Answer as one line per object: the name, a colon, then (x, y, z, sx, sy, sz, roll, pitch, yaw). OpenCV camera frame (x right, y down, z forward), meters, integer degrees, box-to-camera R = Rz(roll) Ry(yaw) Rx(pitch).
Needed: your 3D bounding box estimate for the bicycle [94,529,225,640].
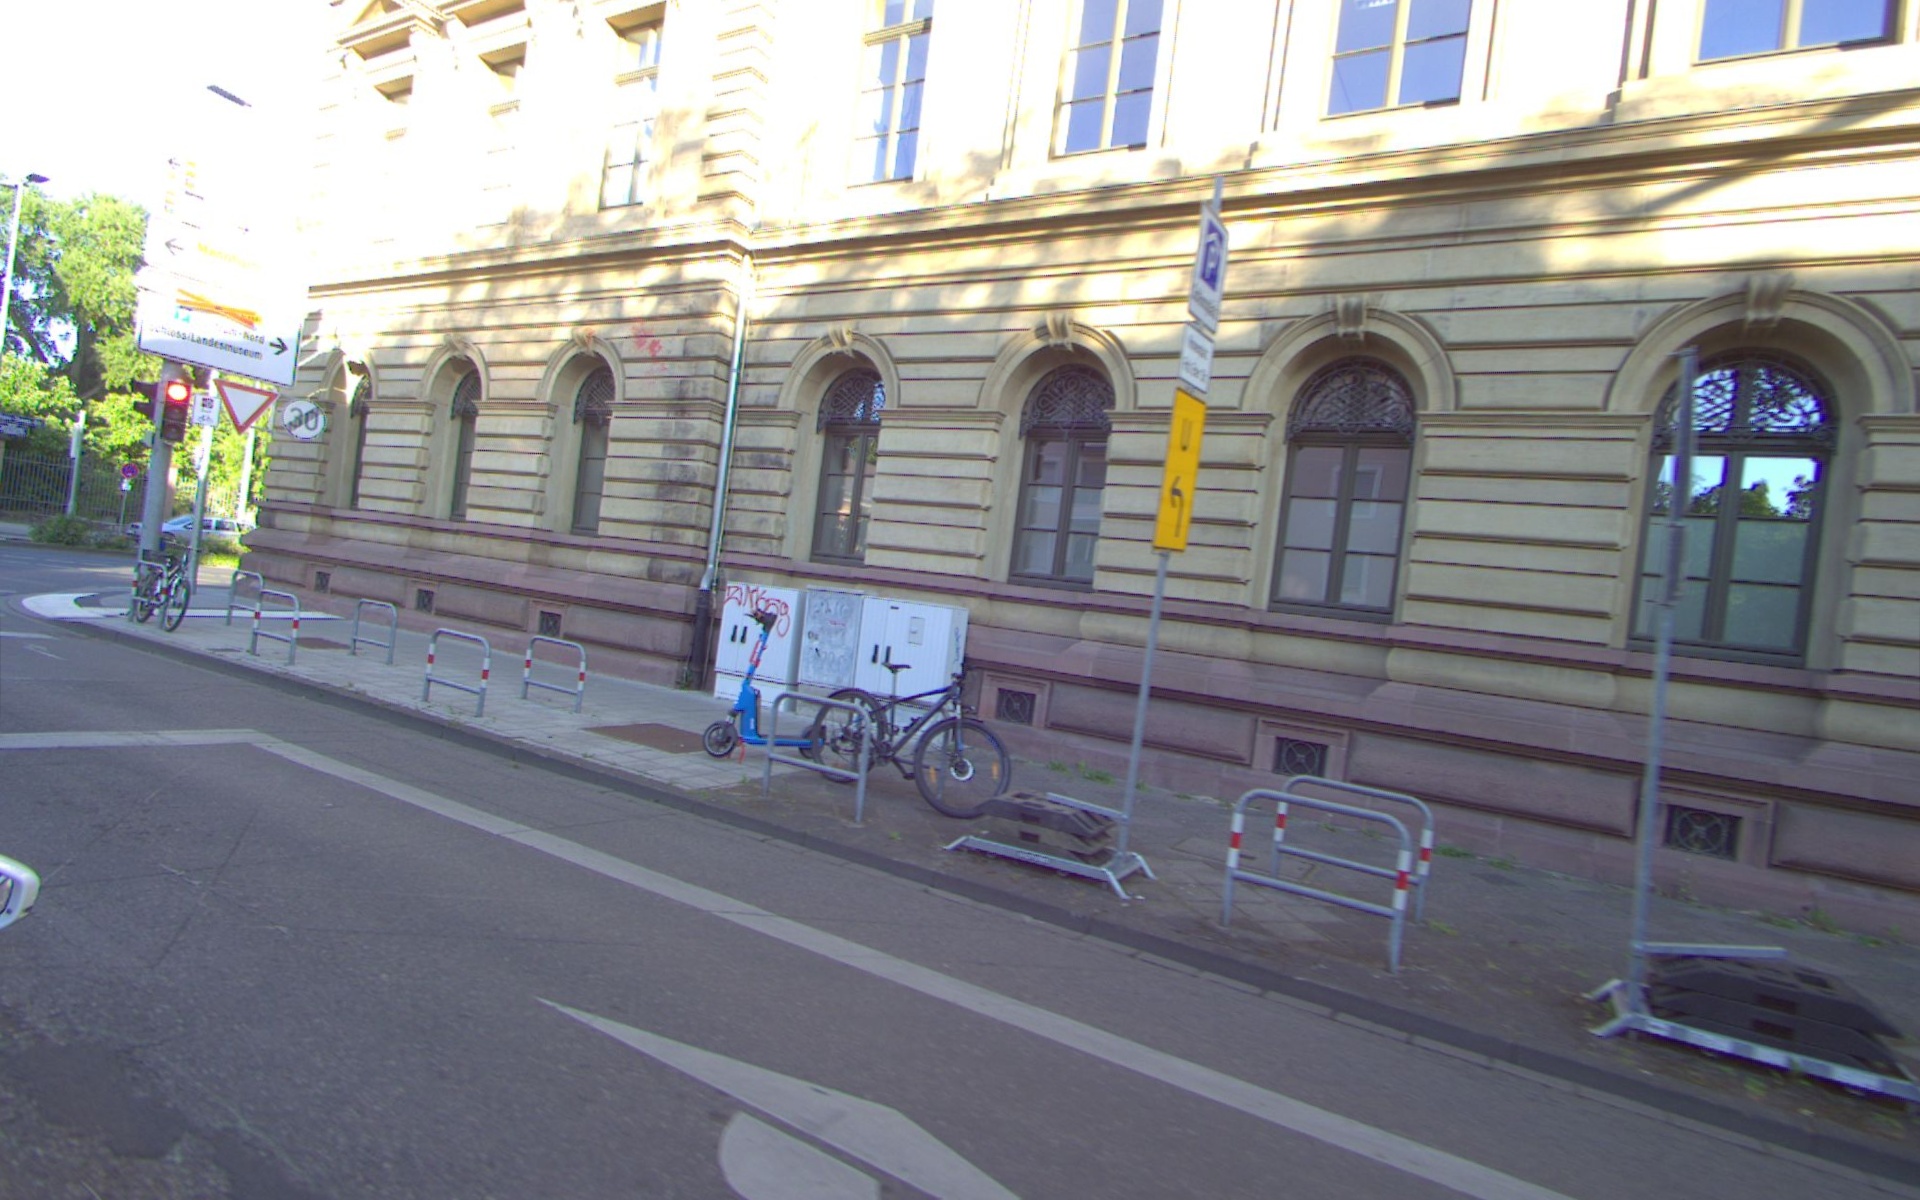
bicycle: (-9.936, -0.206, 12.467, 1.889, 1.203, 0.583, 5, -1, 32)

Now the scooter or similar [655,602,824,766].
scooter or similar: (-1.801, 0.698, 8.320, 0.575, 1.209, 1.130, 7, 0, 38)

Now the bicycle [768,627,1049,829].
bicycle: (-0.417, 0.894, 7.637, 1.912, 1.149, 0.827, 7, 3, 32)

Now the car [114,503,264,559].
car: (-29.844, -2.641, 39.088, 1.684, 1.462, 4.196, 7, -1, 26)
